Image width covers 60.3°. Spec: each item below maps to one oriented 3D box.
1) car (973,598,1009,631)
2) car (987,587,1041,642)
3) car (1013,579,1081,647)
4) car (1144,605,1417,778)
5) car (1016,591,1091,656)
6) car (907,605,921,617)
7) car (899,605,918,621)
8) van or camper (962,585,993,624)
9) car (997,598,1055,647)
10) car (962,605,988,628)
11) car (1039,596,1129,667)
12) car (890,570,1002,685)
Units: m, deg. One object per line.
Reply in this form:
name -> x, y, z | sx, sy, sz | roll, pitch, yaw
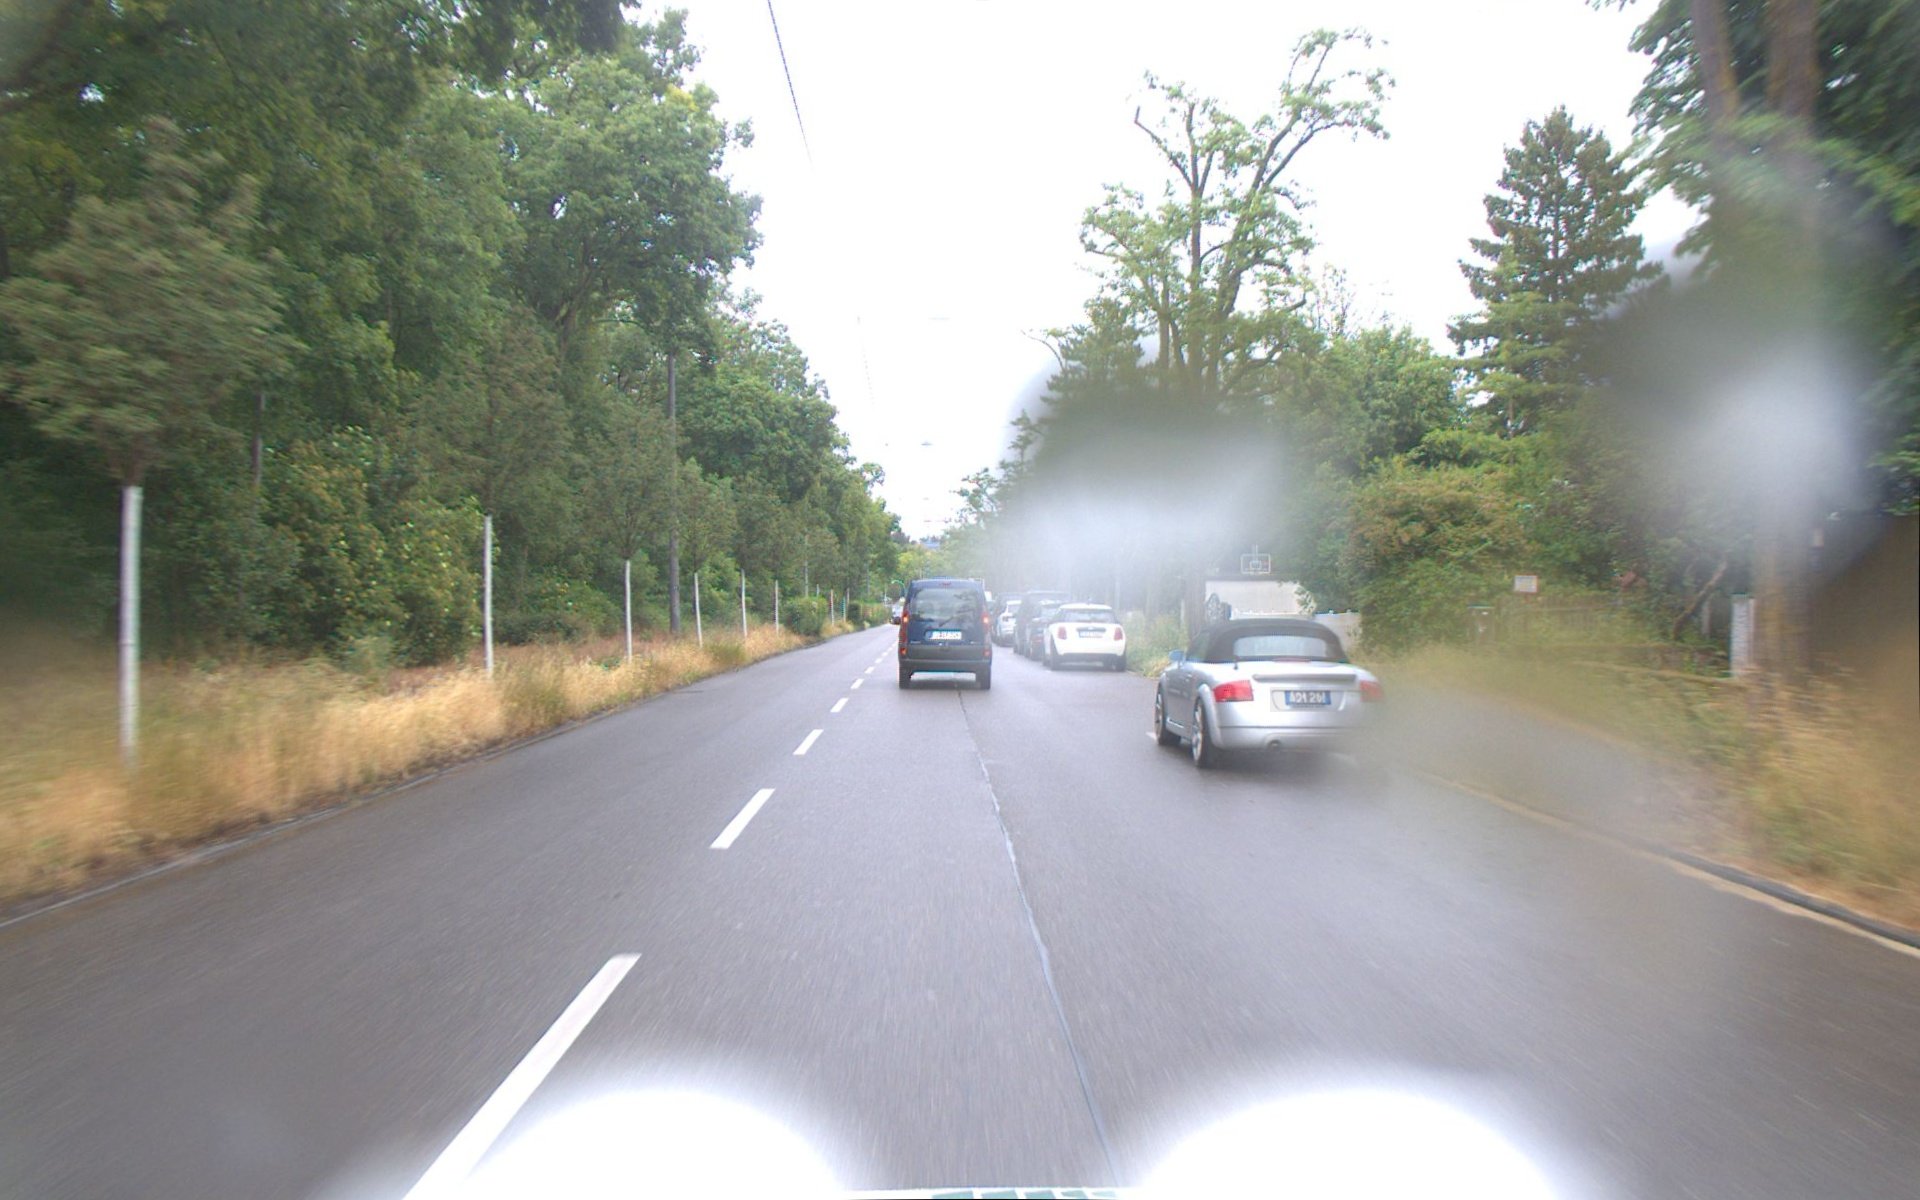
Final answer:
car -> 1.798, 0.826, 96.291 | 1.778, 1.845, 4.280 | 1, 0, -3
car -> 2.115, 0.544, 66.139 | 1.953, 2.049, 4.887 | 1, 0, -1
car -> 2.535, 0.355, 49.089 | 1.695, 1.879, 4.229 | 1, 0, -1
car -> 2.978, 0.793, 16.198 | 1.746, 1.420, 3.998 | 1, 0, -2
car -> 2.412, 0.572, 43.369 | 1.644, 1.583, 4.075 | 1, 0, -1
car -> -6.024, 1.483, 217.141 | 1.747, 1.505, 3.966 | -1, -2, -1
car -> -5.085, 1.276, 163.310 | 1.822, 1.506, 4.155 | -1, 0, -1
van or camper -> 1.199, 0.310, 116.986 | 2.036, 2.697, 5.345 | 1, 0, -1
car -> 2.337, 0.791, 59.363 | 1.768, 1.641, 4.285 | 1, 0, -2
car -> 1.029, 1.073, 109.061 | 1.592, 1.489, 3.809 | 1, 0, 2
car -> 2.791, 0.686, 37.881 | 1.702, 1.490, 3.724 | 1, 0, -1
car -> -0.307, 0.446, 28.990 | 1.732, 1.862, 3.539 | 1, 0, -4
